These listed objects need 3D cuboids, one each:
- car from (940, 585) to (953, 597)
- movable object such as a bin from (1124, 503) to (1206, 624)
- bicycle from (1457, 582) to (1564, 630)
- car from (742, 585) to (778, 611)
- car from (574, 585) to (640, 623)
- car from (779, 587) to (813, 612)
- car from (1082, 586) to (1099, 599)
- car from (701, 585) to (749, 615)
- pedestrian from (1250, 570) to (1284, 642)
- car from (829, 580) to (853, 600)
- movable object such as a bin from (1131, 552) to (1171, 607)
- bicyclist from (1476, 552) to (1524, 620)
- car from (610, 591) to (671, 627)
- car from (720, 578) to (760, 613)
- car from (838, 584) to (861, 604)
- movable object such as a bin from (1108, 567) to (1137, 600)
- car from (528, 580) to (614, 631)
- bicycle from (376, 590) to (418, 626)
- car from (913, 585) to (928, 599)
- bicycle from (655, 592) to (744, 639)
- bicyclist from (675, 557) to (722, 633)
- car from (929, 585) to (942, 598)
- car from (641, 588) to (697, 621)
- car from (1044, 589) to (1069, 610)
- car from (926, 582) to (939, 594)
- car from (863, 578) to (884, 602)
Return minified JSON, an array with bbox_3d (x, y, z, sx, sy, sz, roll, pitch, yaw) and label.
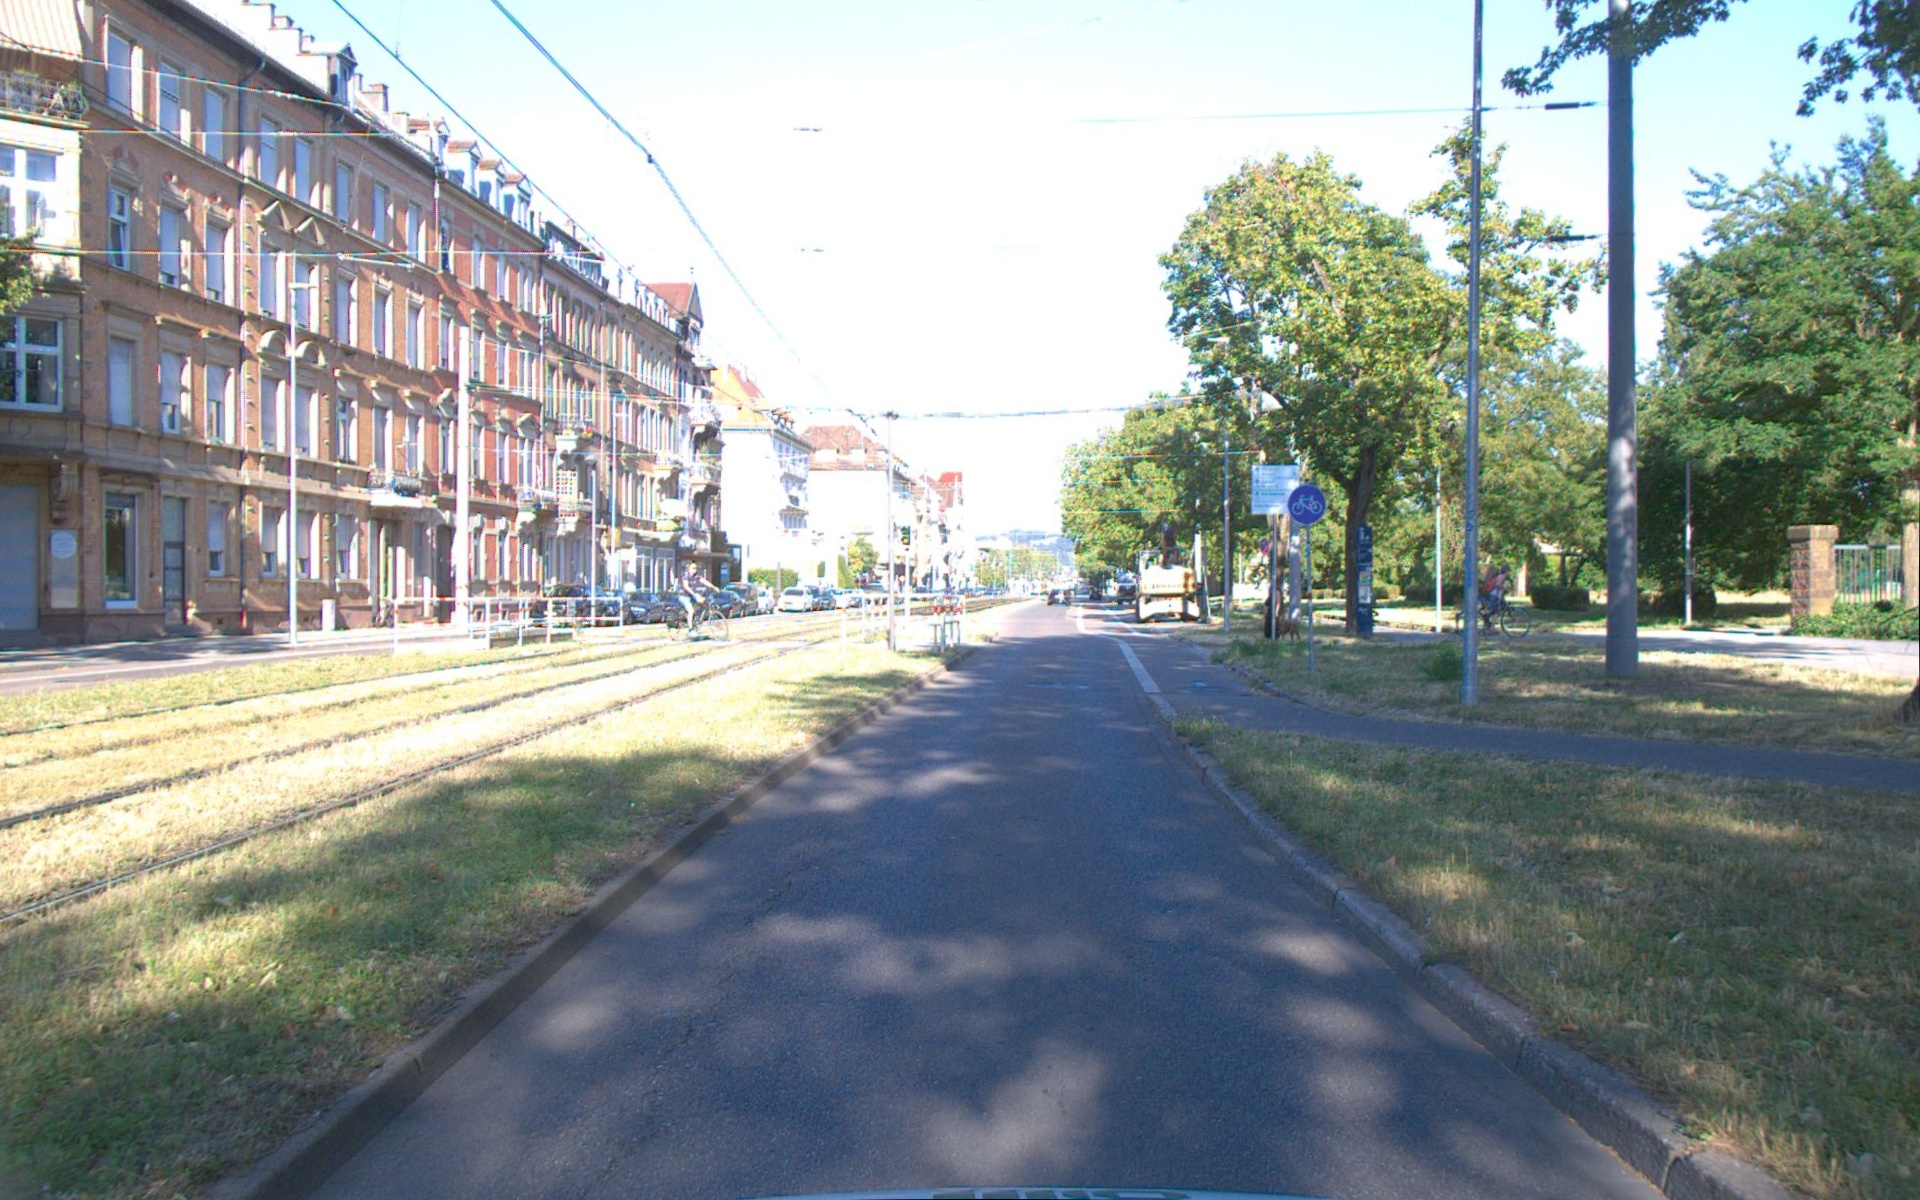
[{"bbox_3d":[-1.972,-1.305,241.285,1.495,1.638,3.225,2,2,4],"label":"car"},{"bbox_3d":[9.456,-1.620,77.201,3.022,5.177,8.896,-3,0,4],"label":"movable object such as a bin"},{"bbox_3d":[12.591,0.135,37.881,2.212,1.059,0.767,0,1,3],"label":"bicycle"},{"bbox_3d":[-12.328,-0.129,101.958,1.529,1.483,3.667,2,2,4],"label":"car"},{"bbox_3d":[-14.768,0.170,69.339,1.738,1.492,3.533,2,0,4],"label":"car"},{"bbox_3d":[-11.355,-0.060,114.779,1.705,1.588,3.770,2,2,4],"label":"car"},{"bbox_3d":[18.850,-1.111,238.811,1.953,1.892,3.998,2,1,-2],"label":"car"},{"bbox_3d":[-12.690,-0.011,89.443,1.739,1.431,3.981,2,2,4],"label":"car"},{"bbox_3d":[7.349,0.142,39.621,0.646,1.675,0.863,-3,0,4],"label":"pedestrian"},{"bbox_3d":[-9.766,-0.823,135.509,1.495,1.588,3.225,2,2,4],"label":"car"},{"bbox_3d":[11.312,-1.209,98.146,1.927,3.065,4.799,-3,0,4],"label":"movable object such as a bin"},{"bbox_3d":[12.362,-0.322,37.890,0.884,1.522,0.767,0,1,3],"label":"bicyclist"},{"bbox_3d":[-14.310,0.369,74.290,1.739,1.431,3.911,2,2,4],"label":"car"},{"bbox_3d":[-12.630,-0.271,95.076,1.529,1.886,3.902,2,2,4],"label":"car"},{"bbox_3d":[-9.359,-0.525,140.448,1.495,1.588,3.225,2,2,4],"label":"car"},{"bbox_3d":[15.121,-1.554,154.437,2.415,2.956,4.002,-3,0,4],"label":"movable object such as a bin"},{"bbox_3d":[-15.114,0.186,64.551,1.973,1.784,4.561,2,2,4],"label":"car"},{"bbox_3d":[-19.170,0.268,56.312,0.684,1.201,1.752,2,0,4],"label":"bicycle"},{"bbox_3d":[-4.832,-1.037,203.165,1.495,1.588,3.225,2,2,4],"label":"car"},{"bbox_3d":[-6.089,0.364,38.659,1.912,1.059,0.767,0,1,4],"label":"bicycle"},{"bbox_3d":[-6.102,-0.116,38.648,0.900,1.745,0.767,0,1,4],"label":"bicyclist"},{"bbox_3d":[-3.265,-1.173,220.037,1.495,1.588,3.225,2,2,4],"label":"car"},{"bbox_3d":[-13.906,0.202,79.167,1.739,1.431,3.911,2,2,4],"label":"car"},{"bbox_3d":[8.217,-0.072,140.550,1.952,1.713,4.002,2,1,4],"label":"car"},{"bbox_3d":[-3.764,-1.642,228.957,1.495,1.638,3.225,2,2,4],"label":"car"},{"bbox_3d":[-8.330,-1.003,159.578,1.623,2.177,3.527,2,2,4],"label":"car"}]
